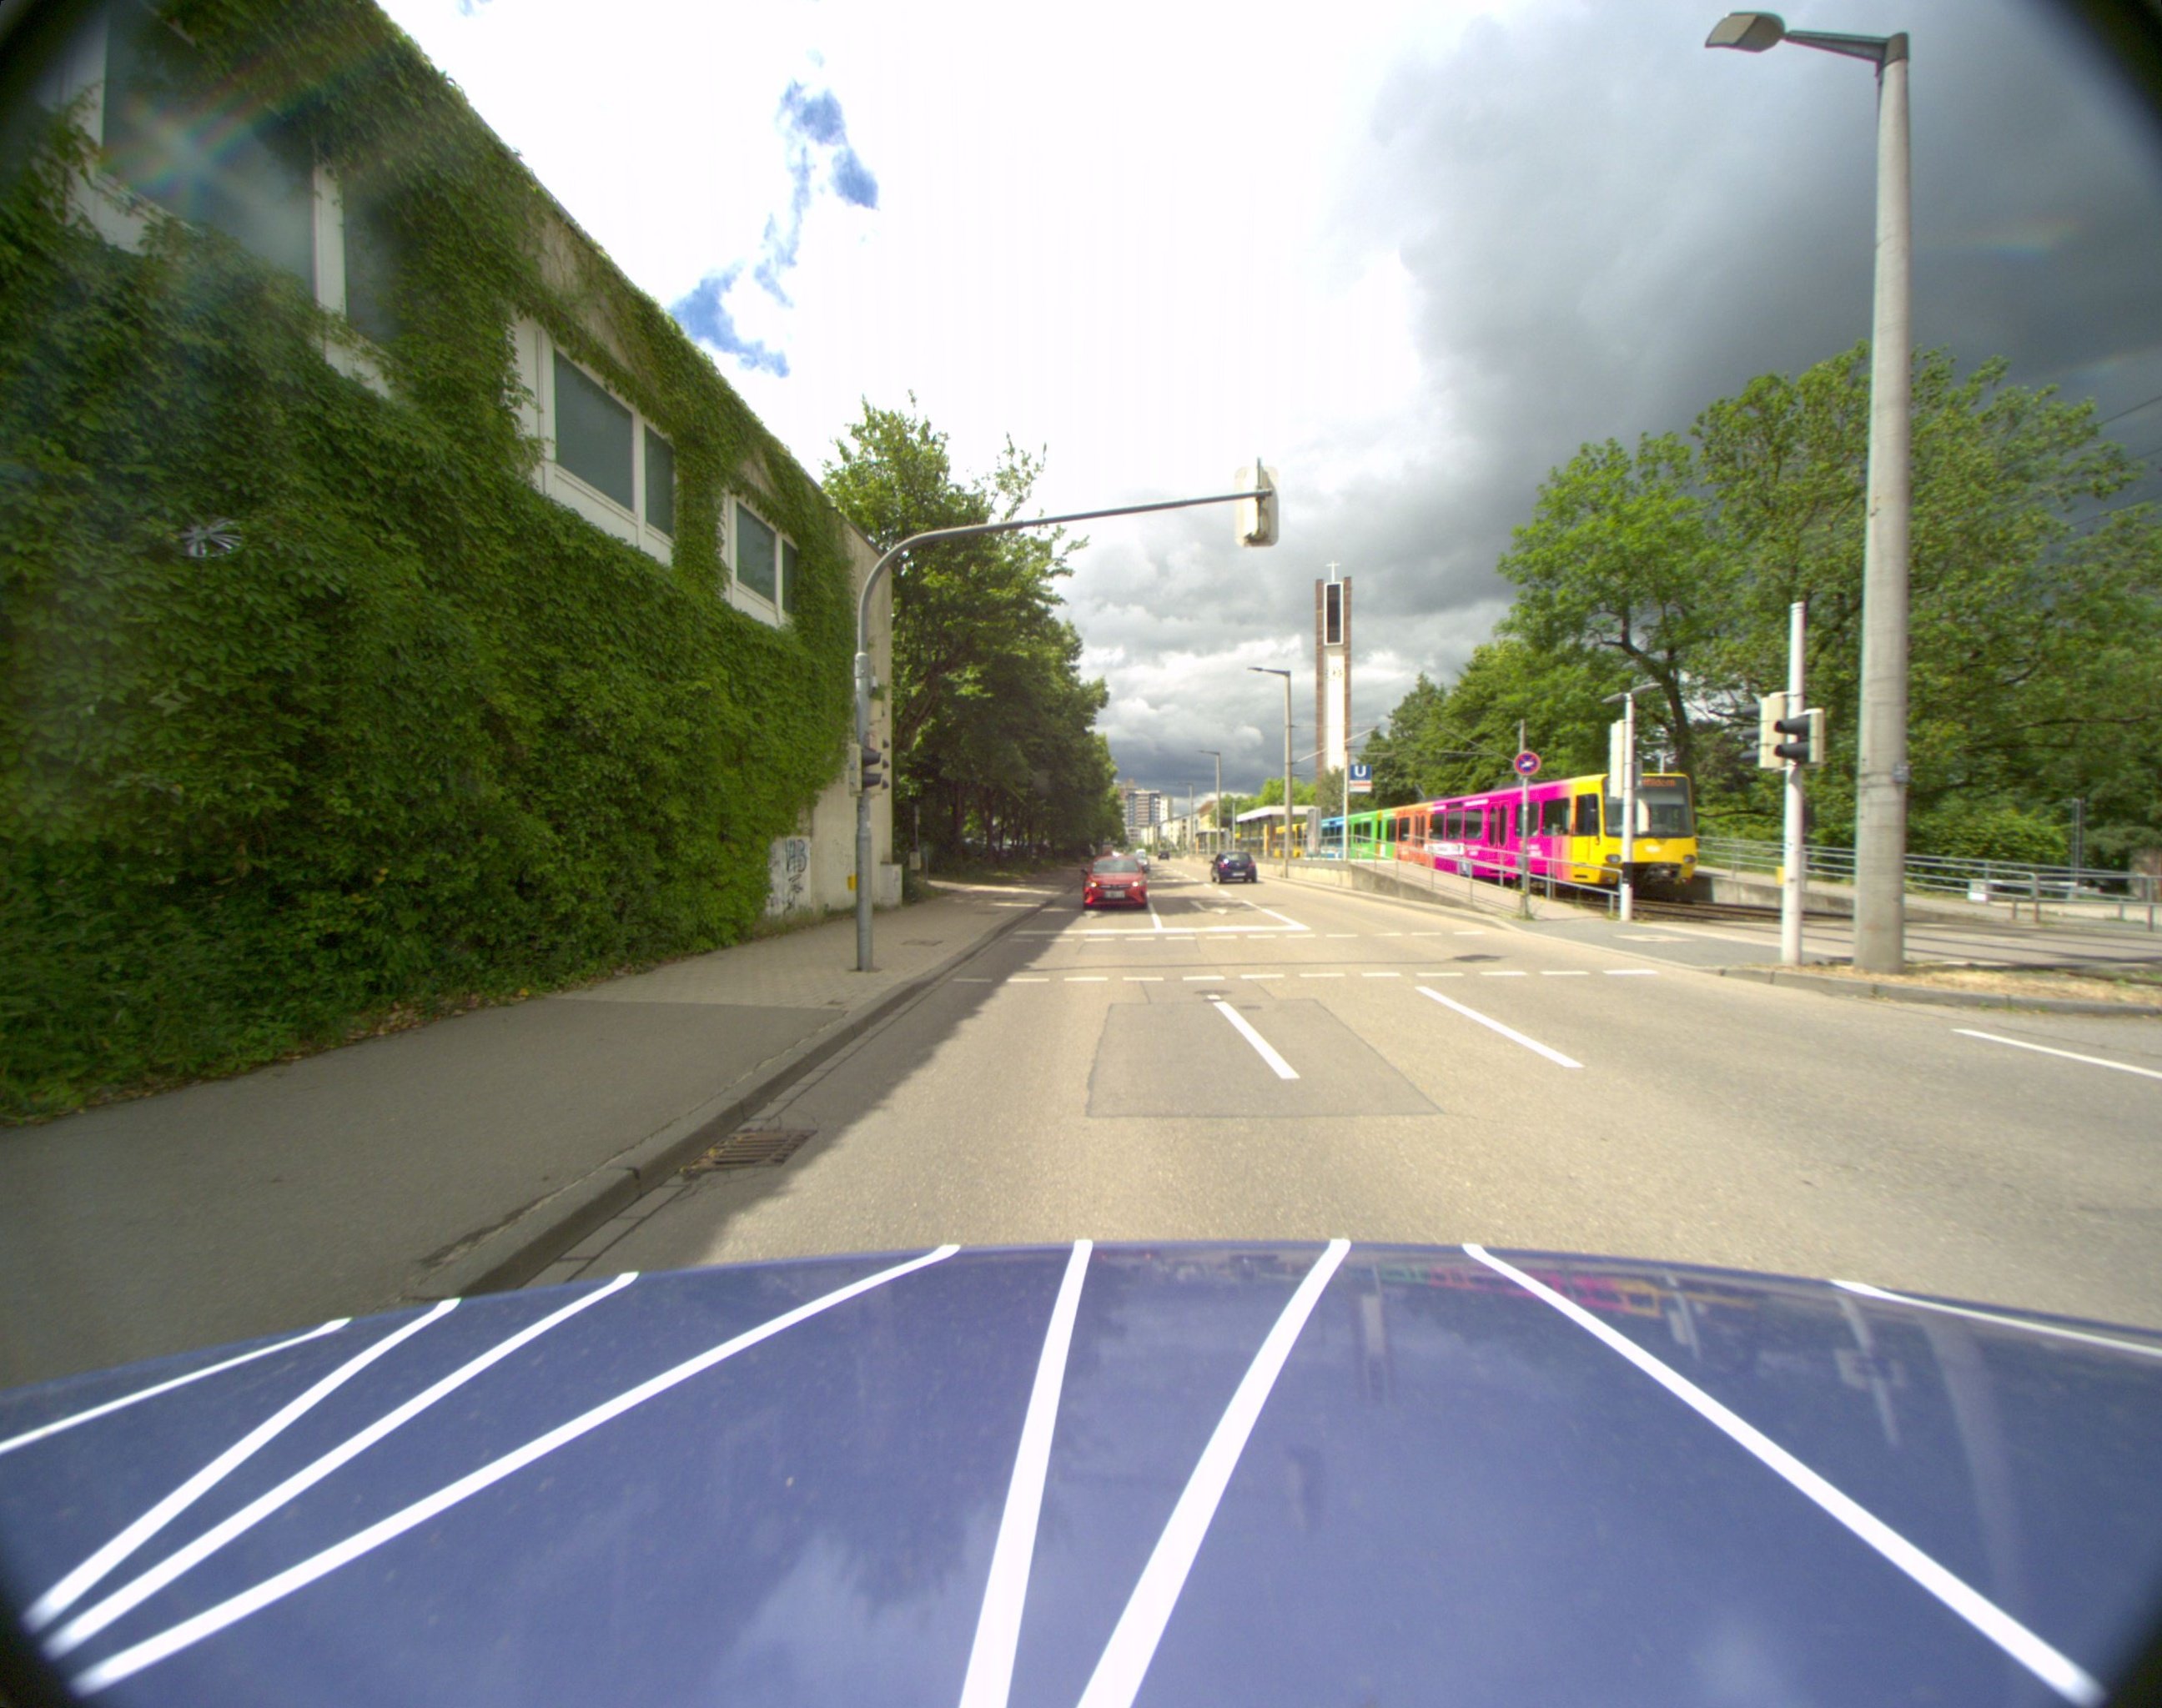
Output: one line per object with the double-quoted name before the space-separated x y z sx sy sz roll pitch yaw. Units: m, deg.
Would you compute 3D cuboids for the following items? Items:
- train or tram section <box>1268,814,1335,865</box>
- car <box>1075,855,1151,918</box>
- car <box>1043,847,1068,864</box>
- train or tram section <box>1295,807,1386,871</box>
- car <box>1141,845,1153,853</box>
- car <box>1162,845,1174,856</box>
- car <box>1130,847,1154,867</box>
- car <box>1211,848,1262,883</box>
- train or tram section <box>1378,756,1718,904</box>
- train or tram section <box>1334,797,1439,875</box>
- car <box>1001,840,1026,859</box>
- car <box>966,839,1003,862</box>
"train or tram section" 18.563 -1.192 64.923 2.987 3.840 12.202 -2 1 4
"car" 0.965 0.796 20.492 1.755 1.433 4.227 -1 1 6
"car" -2.364 0.119 72.347 1.655 1.533 3.678 -1 1 9
"train or tram section" 17.738 -1.019 52.979 2.987 3.840 11.788 -2 1 4
"car" 12.275 -0.998 140.629 1.821 1.433 4.008 -1 1 -1
"car" 13.452 -0.576 117.070 1.755 1.603 4.227 -1 1 6
"car" 4.816 0.234 59.162 1.755 1.433 4.227 -1 1 6
"car" 7.004 0.473 34.635 1.721 1.433 4.009 -1 1 4
"train or tram section" 16.018 -0.769 29.476 2.987 3.840 18.541 -2 1 4
"train or tram section" 16.981 -0.964 42.928 2.987 3.840 8.379 -2 1 4
"car" -5.842 -0.391 65.862 1.756 1.533 4.225 -1 1 0
"car" -6.702 -0.252 53.185 1.755 1.533 3.677 -1 1 6
